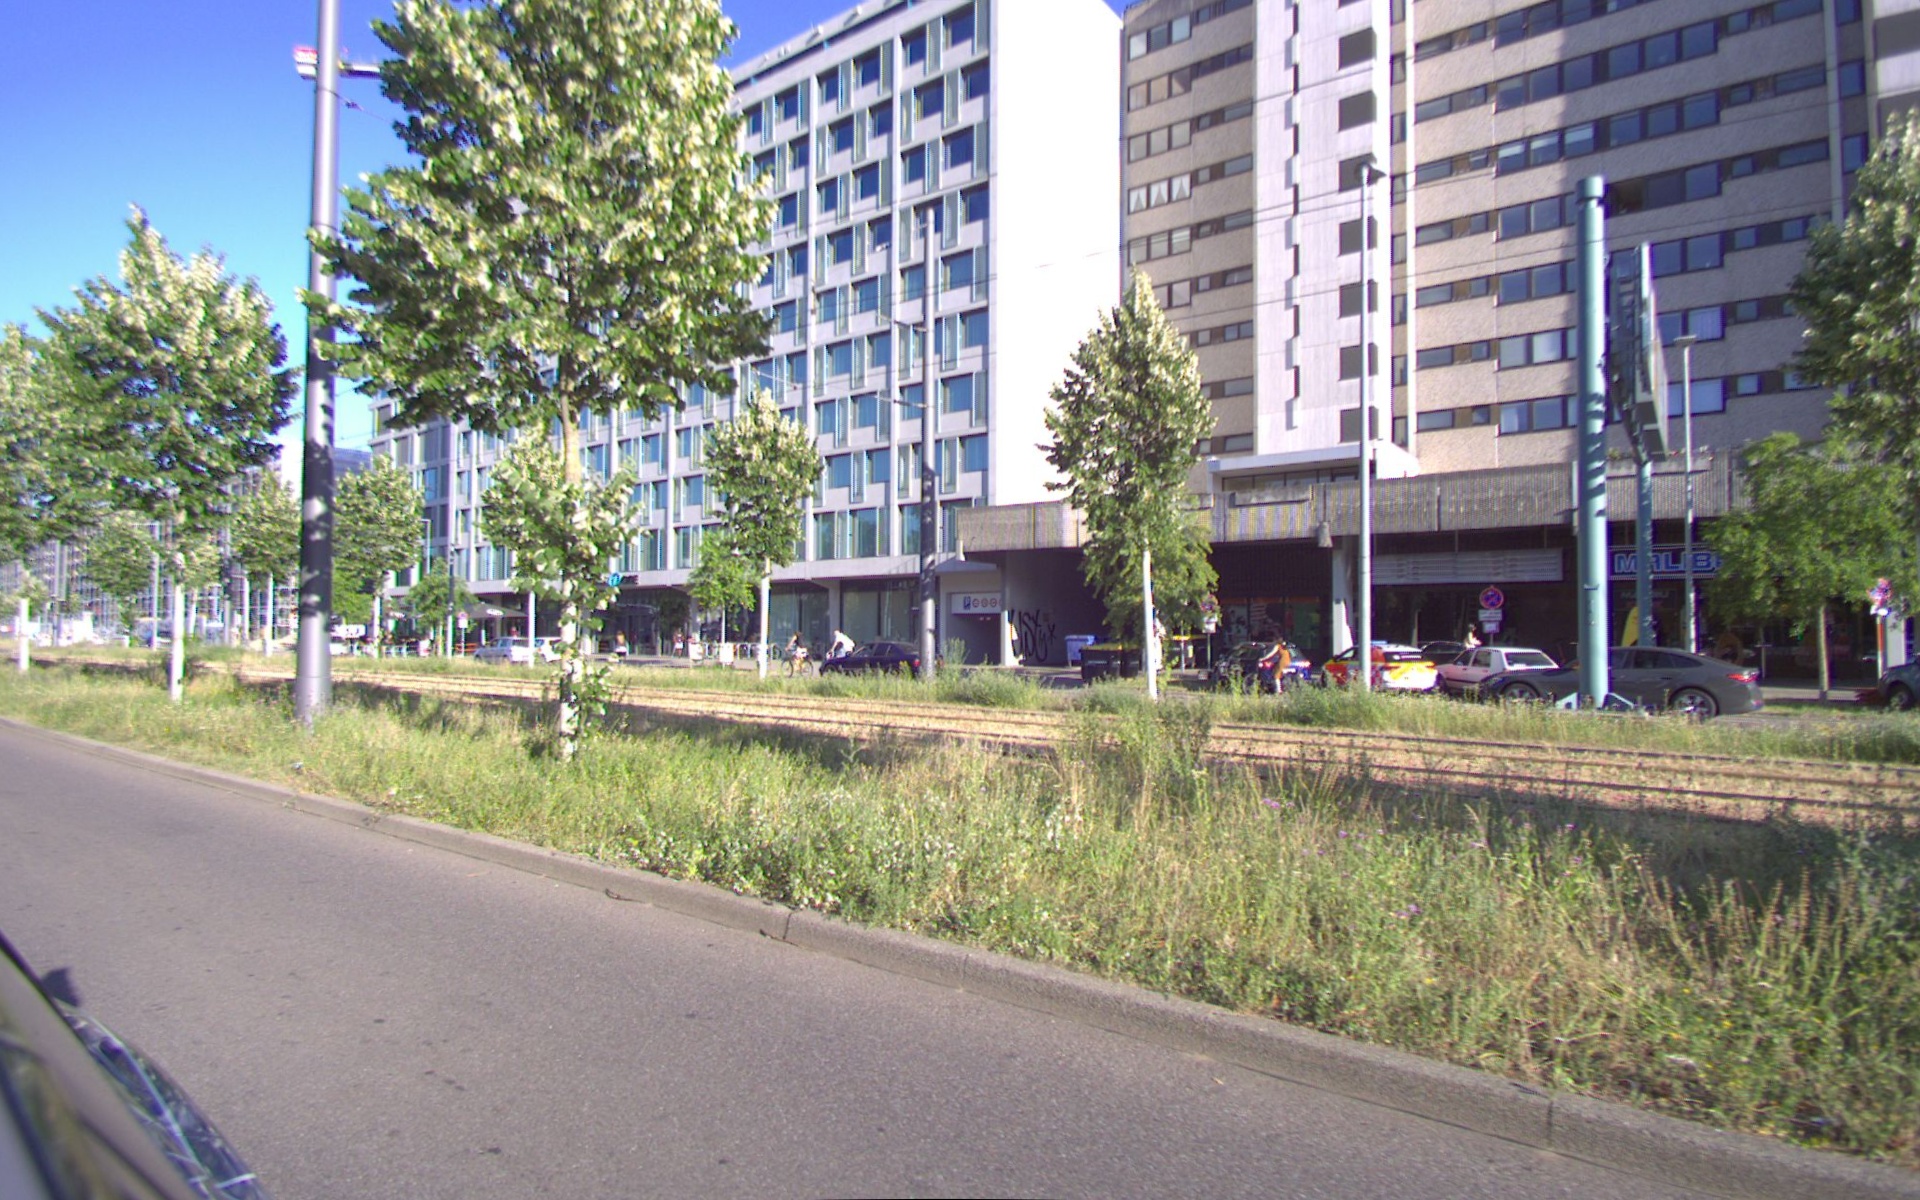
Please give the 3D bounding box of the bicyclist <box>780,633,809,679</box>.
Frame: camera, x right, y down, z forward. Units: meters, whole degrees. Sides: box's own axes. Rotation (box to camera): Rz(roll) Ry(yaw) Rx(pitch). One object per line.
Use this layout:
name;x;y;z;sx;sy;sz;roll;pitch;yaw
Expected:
bicyclist;-6.133;2.055;37.521;0.917;1.669;0.533;-1;-3;35

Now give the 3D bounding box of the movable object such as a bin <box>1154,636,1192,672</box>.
movable object such as a bin;8.411;2.108;39.976;1.088;1.382;1.108;-1;-3;36

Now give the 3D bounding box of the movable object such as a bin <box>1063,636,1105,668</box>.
movable object such as a bin;5.212;2.175;42.575;1.231;1.344;1.374;-1;-3;36

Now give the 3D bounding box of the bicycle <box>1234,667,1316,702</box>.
bicycle;8.564;2.293;27.592;2.098;0.869;0.432;-1;-3;36

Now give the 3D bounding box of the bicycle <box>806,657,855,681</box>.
bicycle;-4.842;2.565;37.784;2.098;0.869;0.432;-1;-3;36

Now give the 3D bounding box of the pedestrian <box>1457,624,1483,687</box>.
pedestrian;16.732;1.807;33.173;0.653;2.029;0.542;-1;-3;37

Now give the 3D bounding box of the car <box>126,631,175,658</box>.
car;-57.350;3.102;71.703;3.787;1.765;1.852;-1;0;37

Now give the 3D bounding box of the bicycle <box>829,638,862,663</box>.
bicycle;-5.736;2.546;50.771;1.712;1.239;0.391;-1;-3;28

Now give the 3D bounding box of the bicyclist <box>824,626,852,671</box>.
bicyclist;-4.549;1.806;37.658;0.917;1.669;0.533;-1;-3;35

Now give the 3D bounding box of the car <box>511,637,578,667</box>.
car;-22.230;2.761;54.092;3.384;1.477;1.852;-1;0;37

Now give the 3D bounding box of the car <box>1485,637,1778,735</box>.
car;13.107;1.592;19.972;4.631;1.600;1.852;-1;0;37

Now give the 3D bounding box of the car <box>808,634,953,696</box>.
car;-2.540;1.990;31.905;4.481;1.715;1.852;-1;0;37

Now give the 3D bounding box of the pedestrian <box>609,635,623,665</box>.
pedestrian;-19.186;2.804;56.511;0.596;1.648;0.473;-2;-3;37

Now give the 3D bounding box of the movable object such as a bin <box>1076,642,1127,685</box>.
movable object such as a bin;4.668;2.067;33.310;1.169;1.382;1.374;-1;-3;36

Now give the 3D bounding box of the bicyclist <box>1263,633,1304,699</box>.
bicyclist;8.802;1.772;27.520;0.917;1.758;0.552;-1;-3;35

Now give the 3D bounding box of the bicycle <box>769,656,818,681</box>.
bicycle;-6.200;2.535;37.557;2.098;0.869;0.432;-1;-3;36

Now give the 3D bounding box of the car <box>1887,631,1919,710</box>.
car;22.169;1.566;21.118;1.597;1.703;4.200;-1;0;-4

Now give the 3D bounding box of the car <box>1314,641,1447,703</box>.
car;11.846;1.988;28.799;1.761;1.455;3.808;-1;0;-8

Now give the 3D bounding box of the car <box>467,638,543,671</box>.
car;-21.137;2.486;46.954;3.873;1.388;1.594;-1;0;37

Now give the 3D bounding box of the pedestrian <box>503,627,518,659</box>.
pedestrian;-28.718;2.723;64.658;0.725;2.029;0.614;-2;-3;37

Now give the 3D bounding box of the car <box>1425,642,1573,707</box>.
car;14.303;1.924;27.107;1.596;1.455;3.798;-1;0;-7

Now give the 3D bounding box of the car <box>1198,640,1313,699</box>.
car;8.911;2.055;30.940;1.595;1.455;4.555;-1;0;-8

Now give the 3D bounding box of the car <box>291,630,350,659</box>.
car;-37.932;2.625;60.004;3.477;1.603;1.852;-1;0;37
